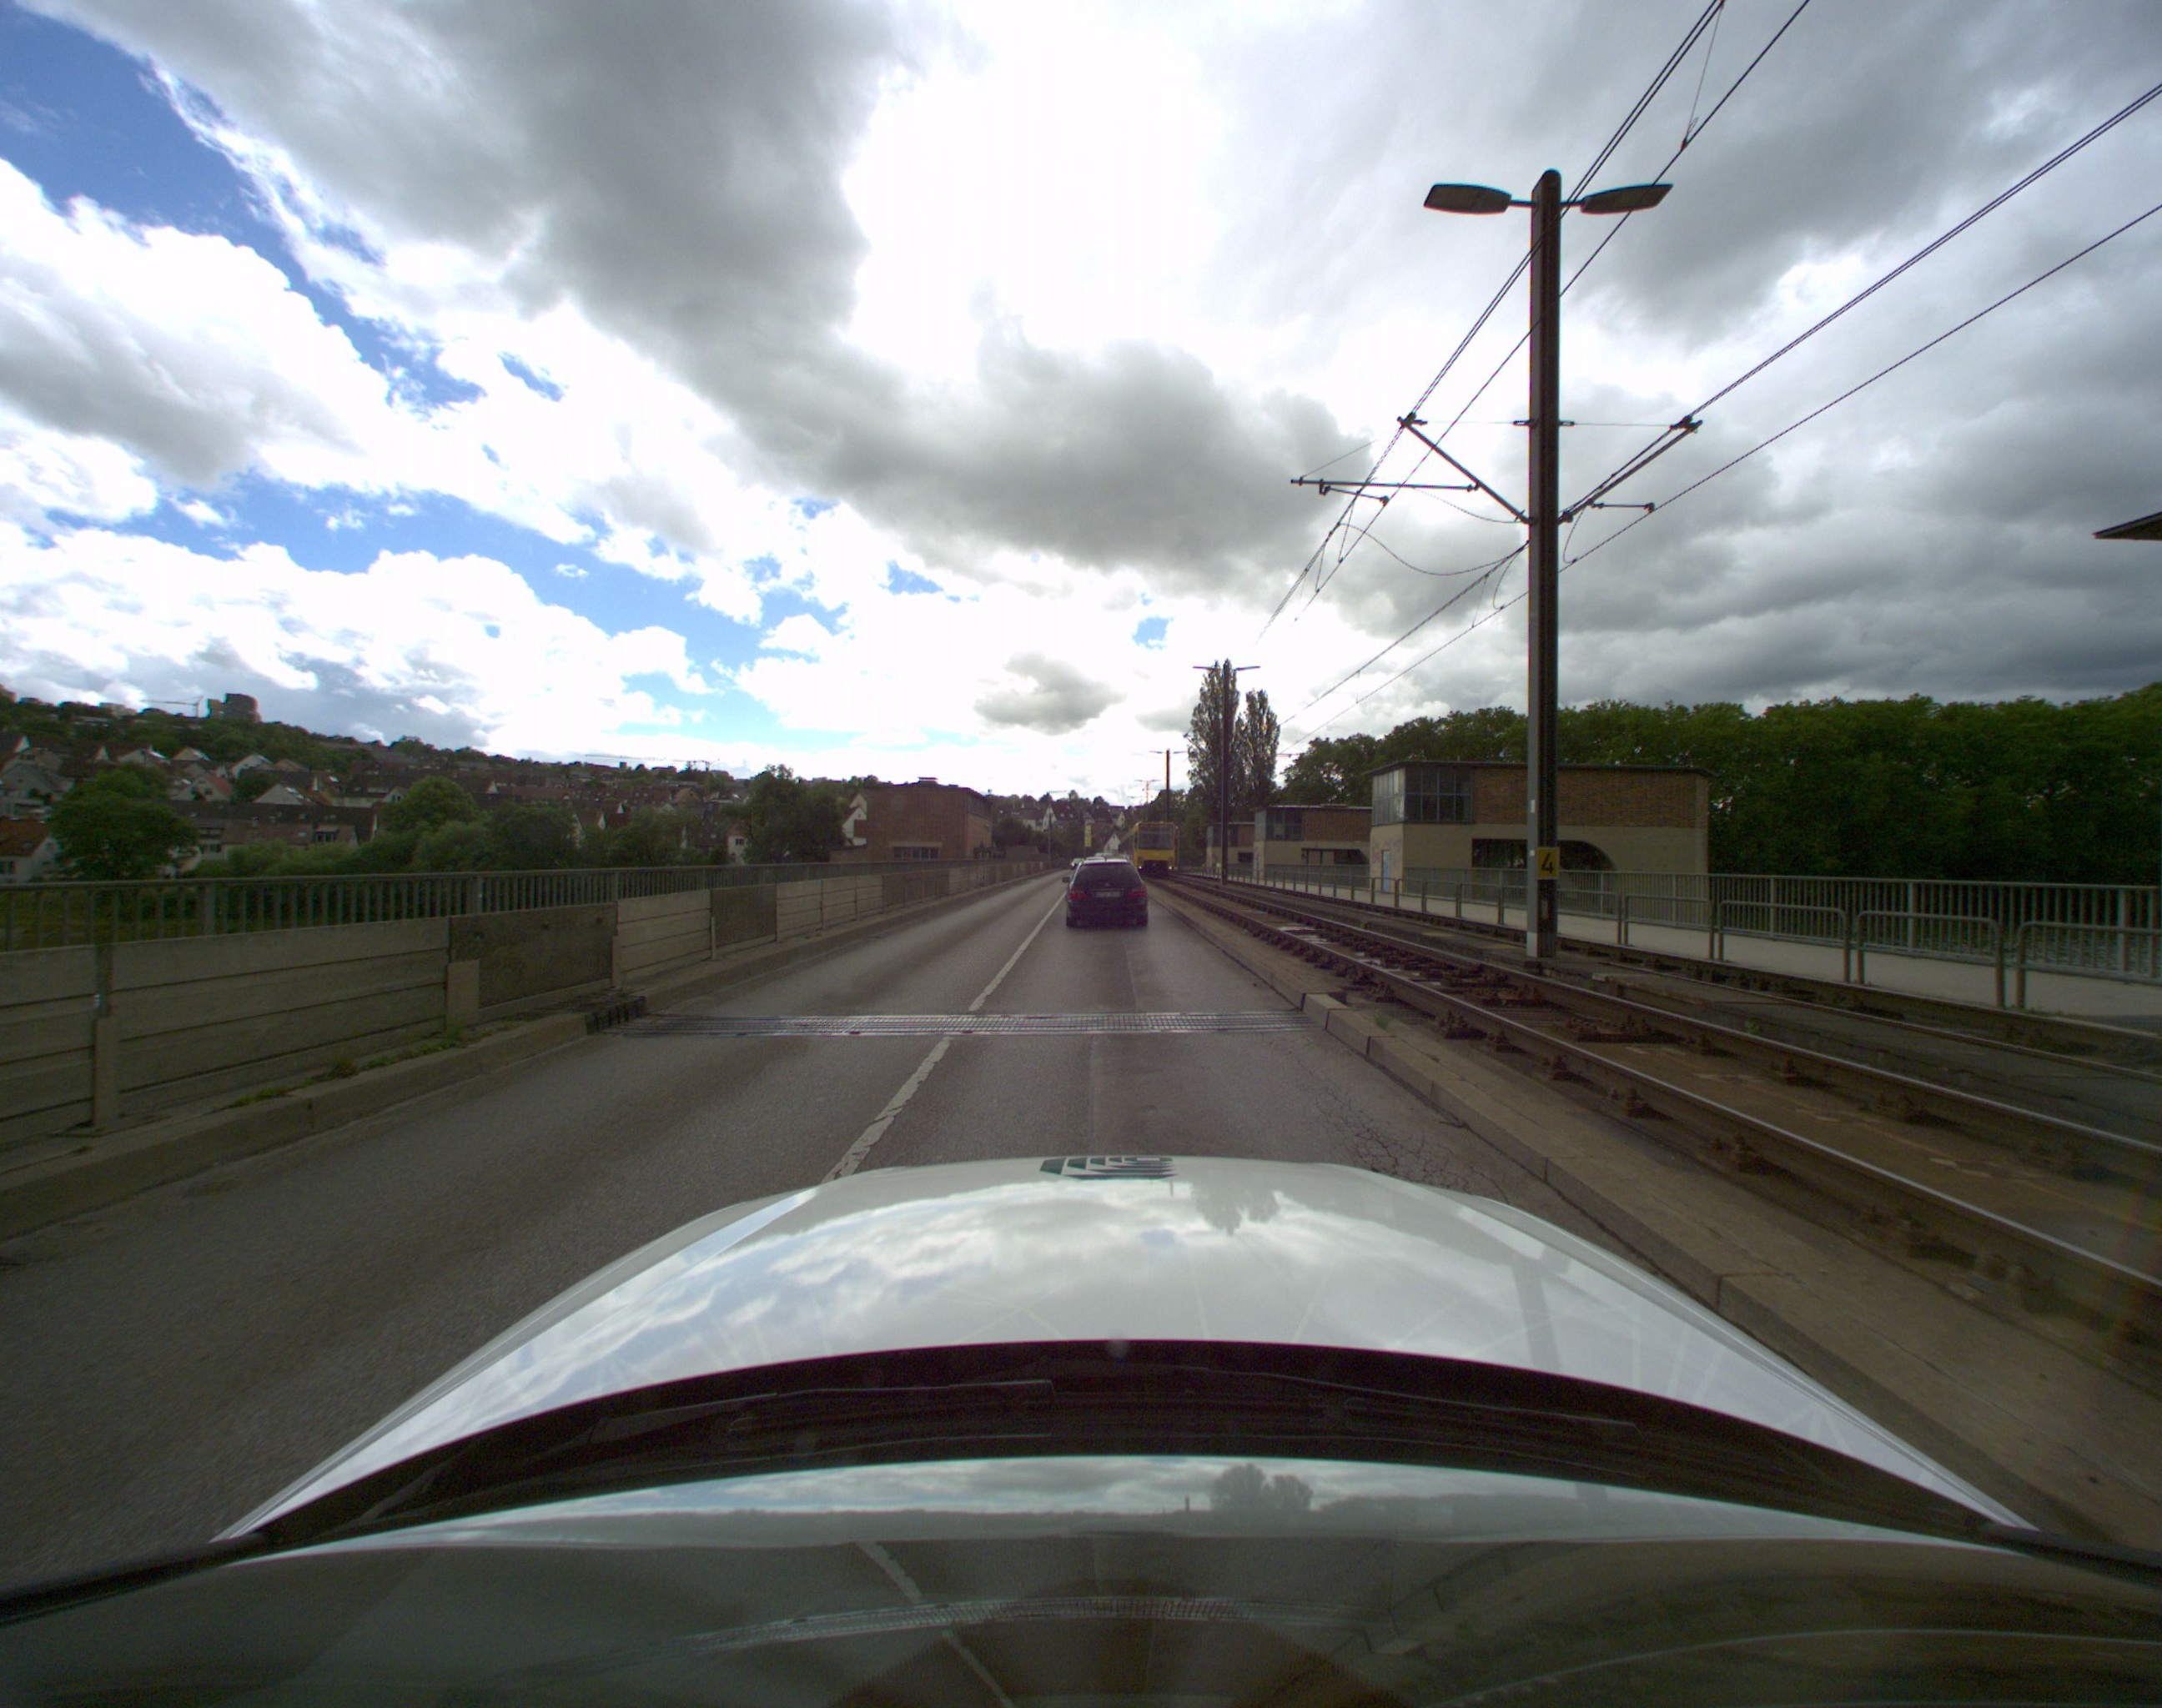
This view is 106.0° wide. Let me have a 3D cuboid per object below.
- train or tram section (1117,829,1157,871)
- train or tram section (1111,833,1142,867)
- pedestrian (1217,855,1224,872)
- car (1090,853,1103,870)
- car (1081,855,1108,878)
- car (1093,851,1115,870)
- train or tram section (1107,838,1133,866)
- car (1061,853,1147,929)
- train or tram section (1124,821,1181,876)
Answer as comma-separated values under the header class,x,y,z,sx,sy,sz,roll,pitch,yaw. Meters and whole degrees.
class,x,y,z,sx,sy,sz,roll,pitch,yaw
train or tram section,5.275,-0.353,80.325,2.820,3.580,18.667,-1,0,1
train or tram section,5.410,-0.328,99.592,2.775,3.656,19.892,-2,-1,1
pedestrian,13.335,0.870,77.991,0.575,1.610,0.613,0,-1,2
car,2.508,1.174,131.026,2.026,2.561,7.008,-1,0,1
car,0.895,0.826,56.014,1.765,1.555,4.239,0,0,-1
car,2.006,0.518,70.763,1.786,1.555,4.387,1,0,2
train or tram section,5.597,-0.150,119.510,2.784,3.764,19.888,1,-1,0
car,0.591,0.765,19.014,1.752,1.515,4.445,-1,0,3
train or tram section,5.072,-0.343,61.603,2.872,3.509,18.667,-1,0,1
